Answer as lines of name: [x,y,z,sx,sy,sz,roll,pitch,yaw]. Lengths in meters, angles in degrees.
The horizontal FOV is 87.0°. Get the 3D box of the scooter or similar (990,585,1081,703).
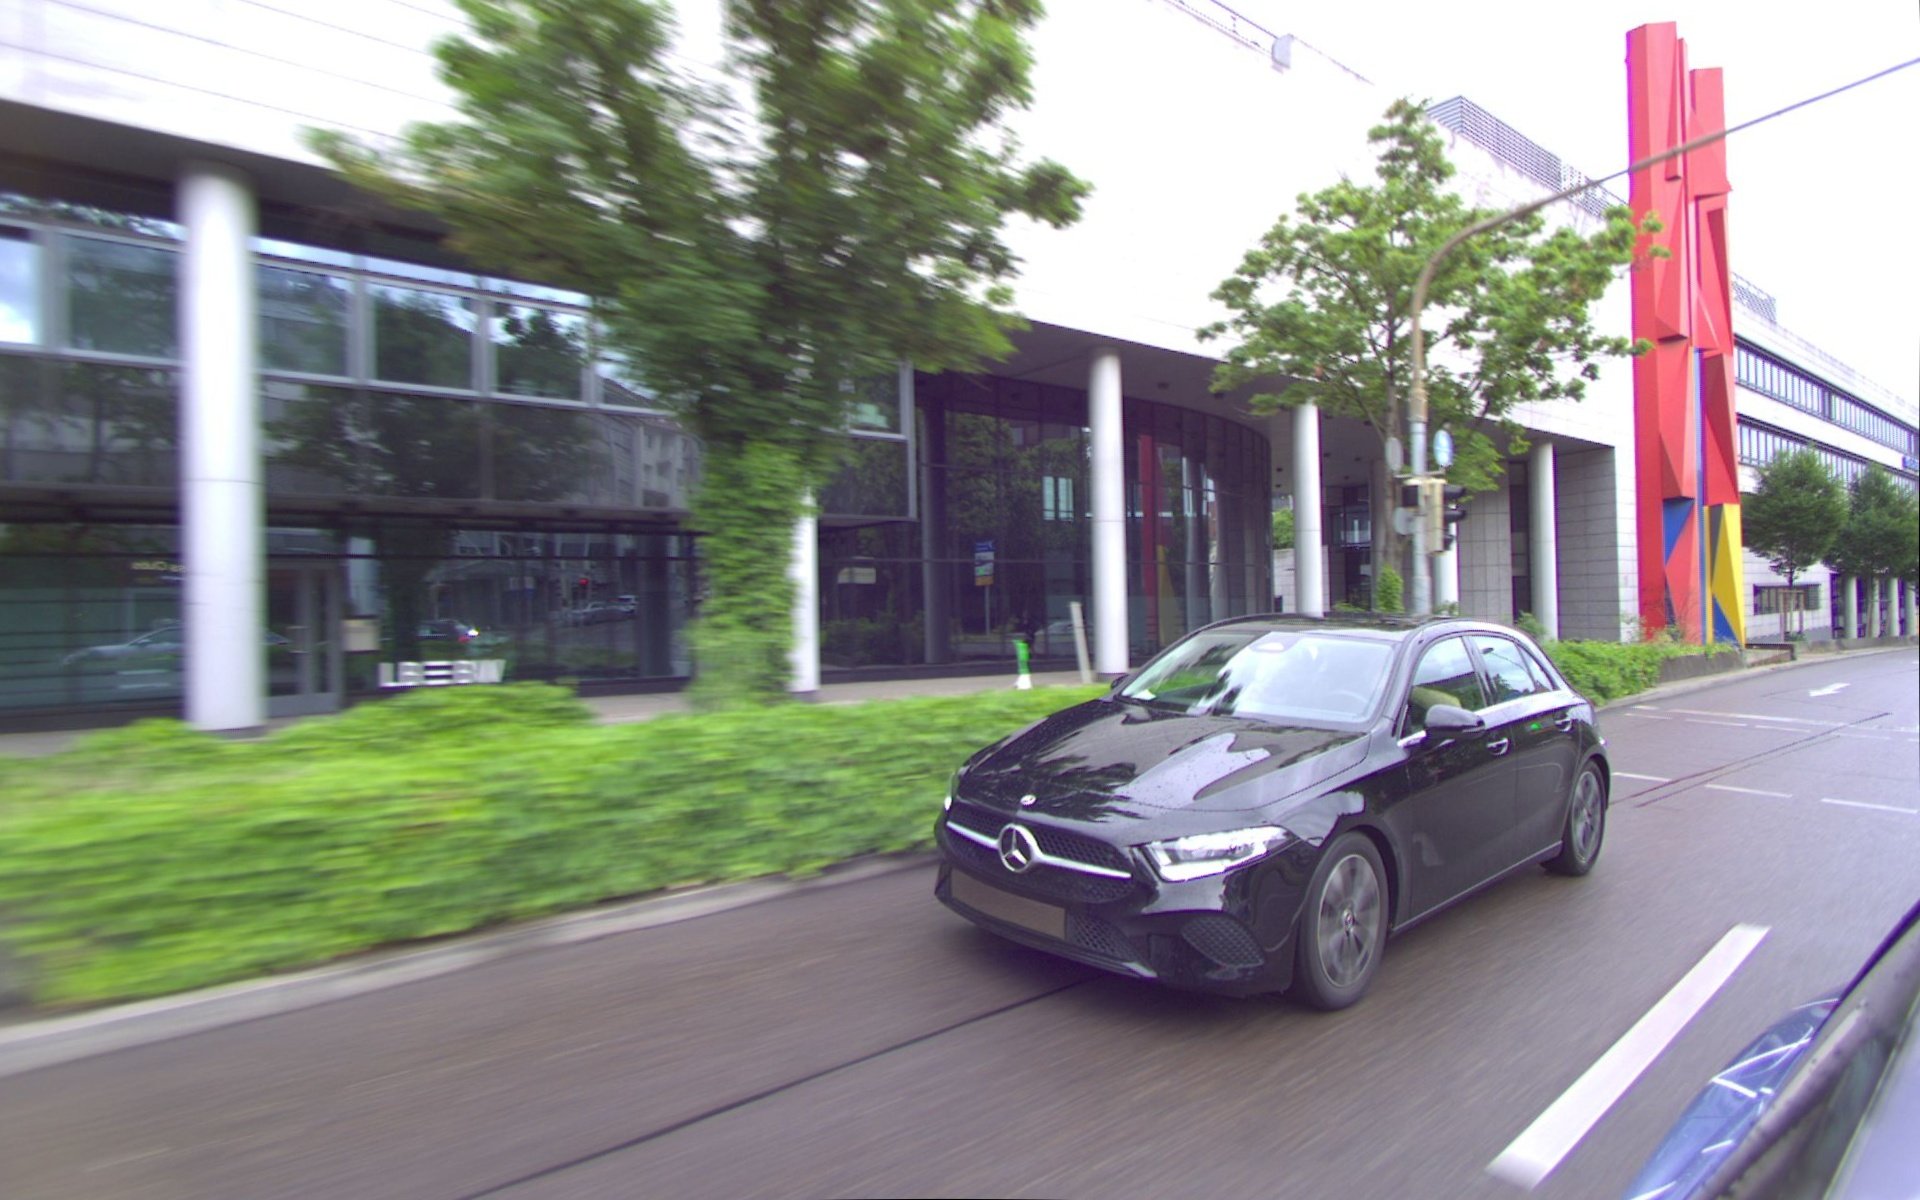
scooter or similar: [1.024,0.595,13.991,0.493,1.550,1.326,1,-2,-37]

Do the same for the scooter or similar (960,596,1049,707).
scooter or similar: [0.586,0.683,13.711,0.450,1.427,1.326,1,-2,-37]

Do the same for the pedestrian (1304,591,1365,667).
pedestrian: [8.171,0.612,22.099,0.828,1.606,0.971,1,-1,-42]

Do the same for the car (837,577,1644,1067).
car: [1.642,0.691,5.069,4.129,1.455,1.876,1,-1,-39]
